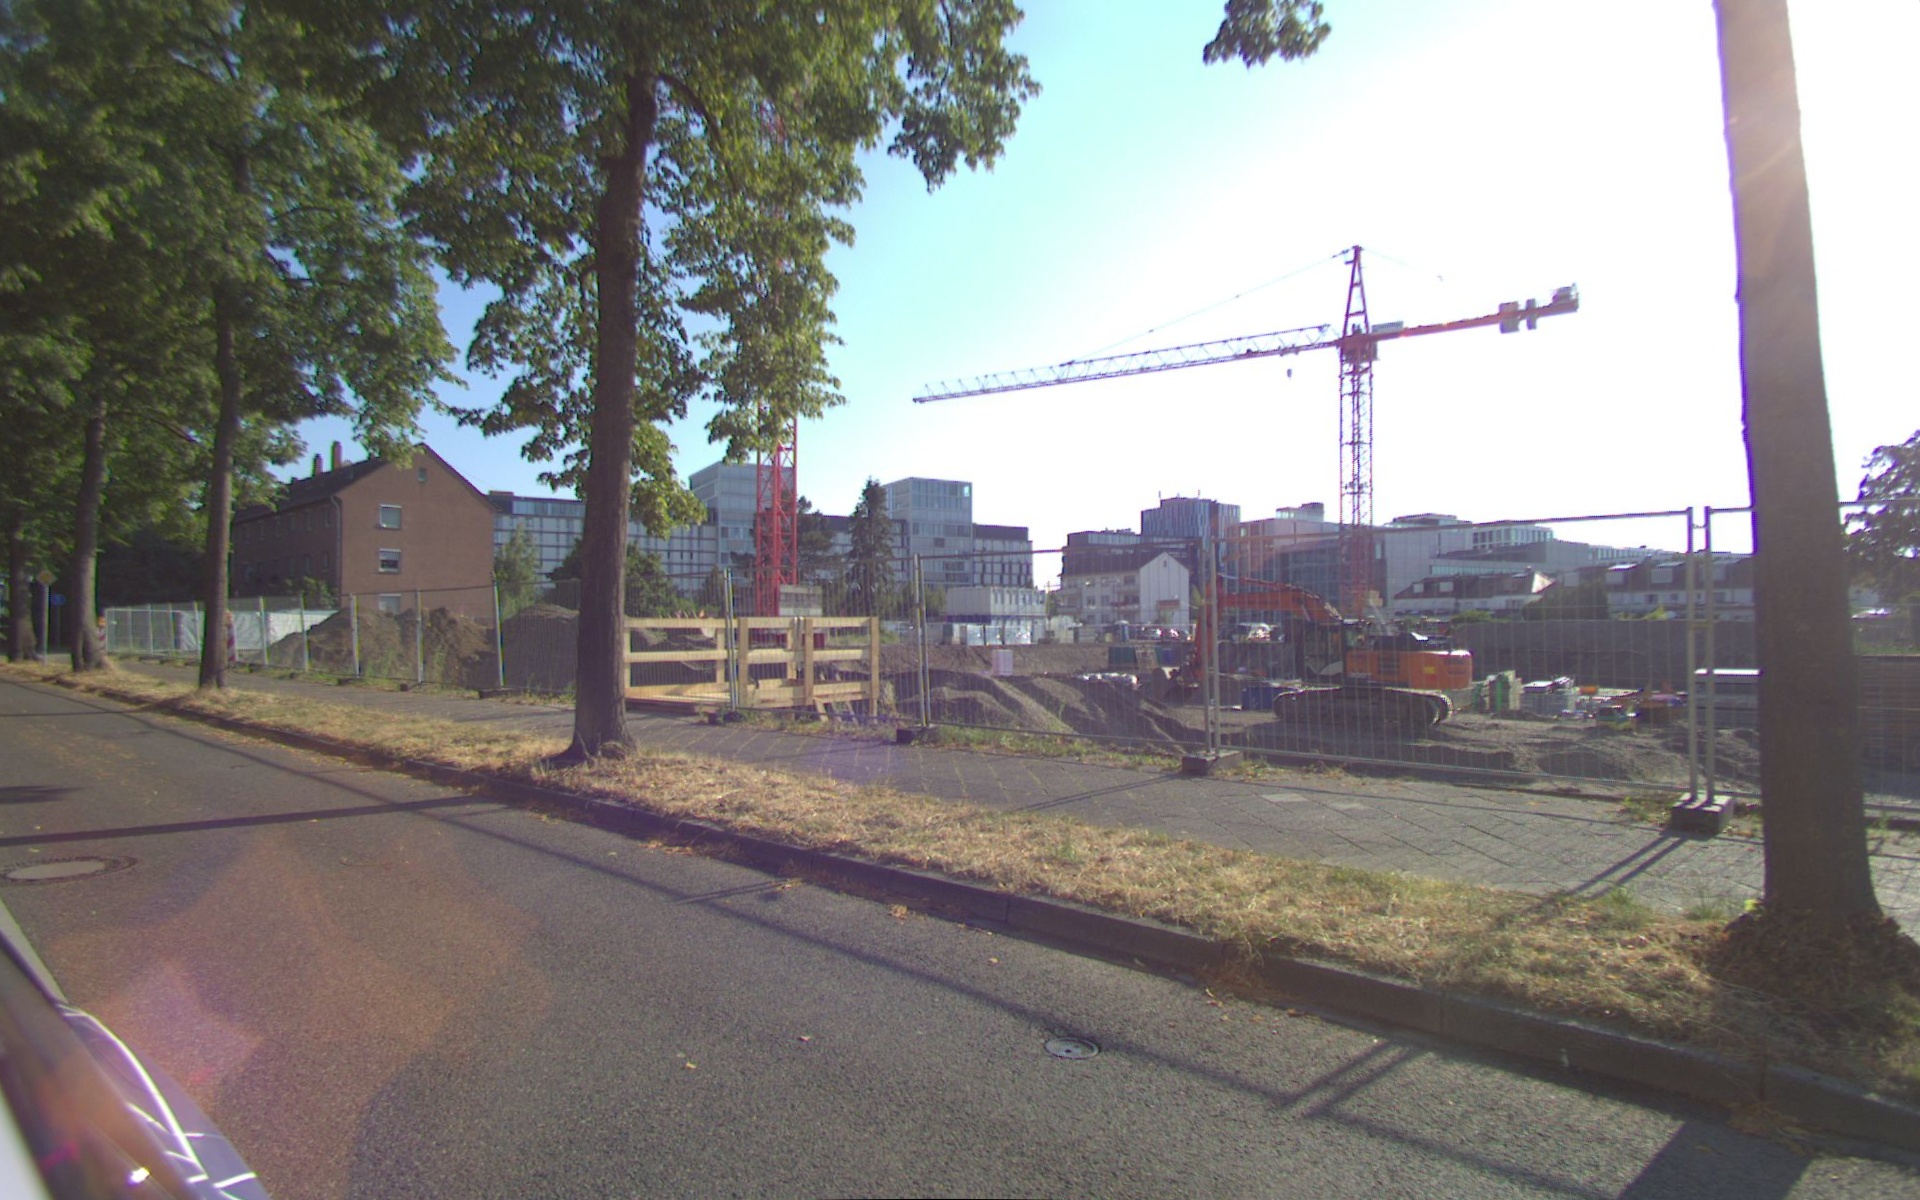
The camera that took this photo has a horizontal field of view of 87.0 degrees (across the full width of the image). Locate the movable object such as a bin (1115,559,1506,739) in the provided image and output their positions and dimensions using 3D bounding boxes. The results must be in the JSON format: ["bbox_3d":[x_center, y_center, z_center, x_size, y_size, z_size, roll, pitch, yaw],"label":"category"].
[{"bbox_3d":[11.380,1.362,34.644,4.037,5.102,12.240,-1,1,-41],"label":"movable object such as a bin"}]
